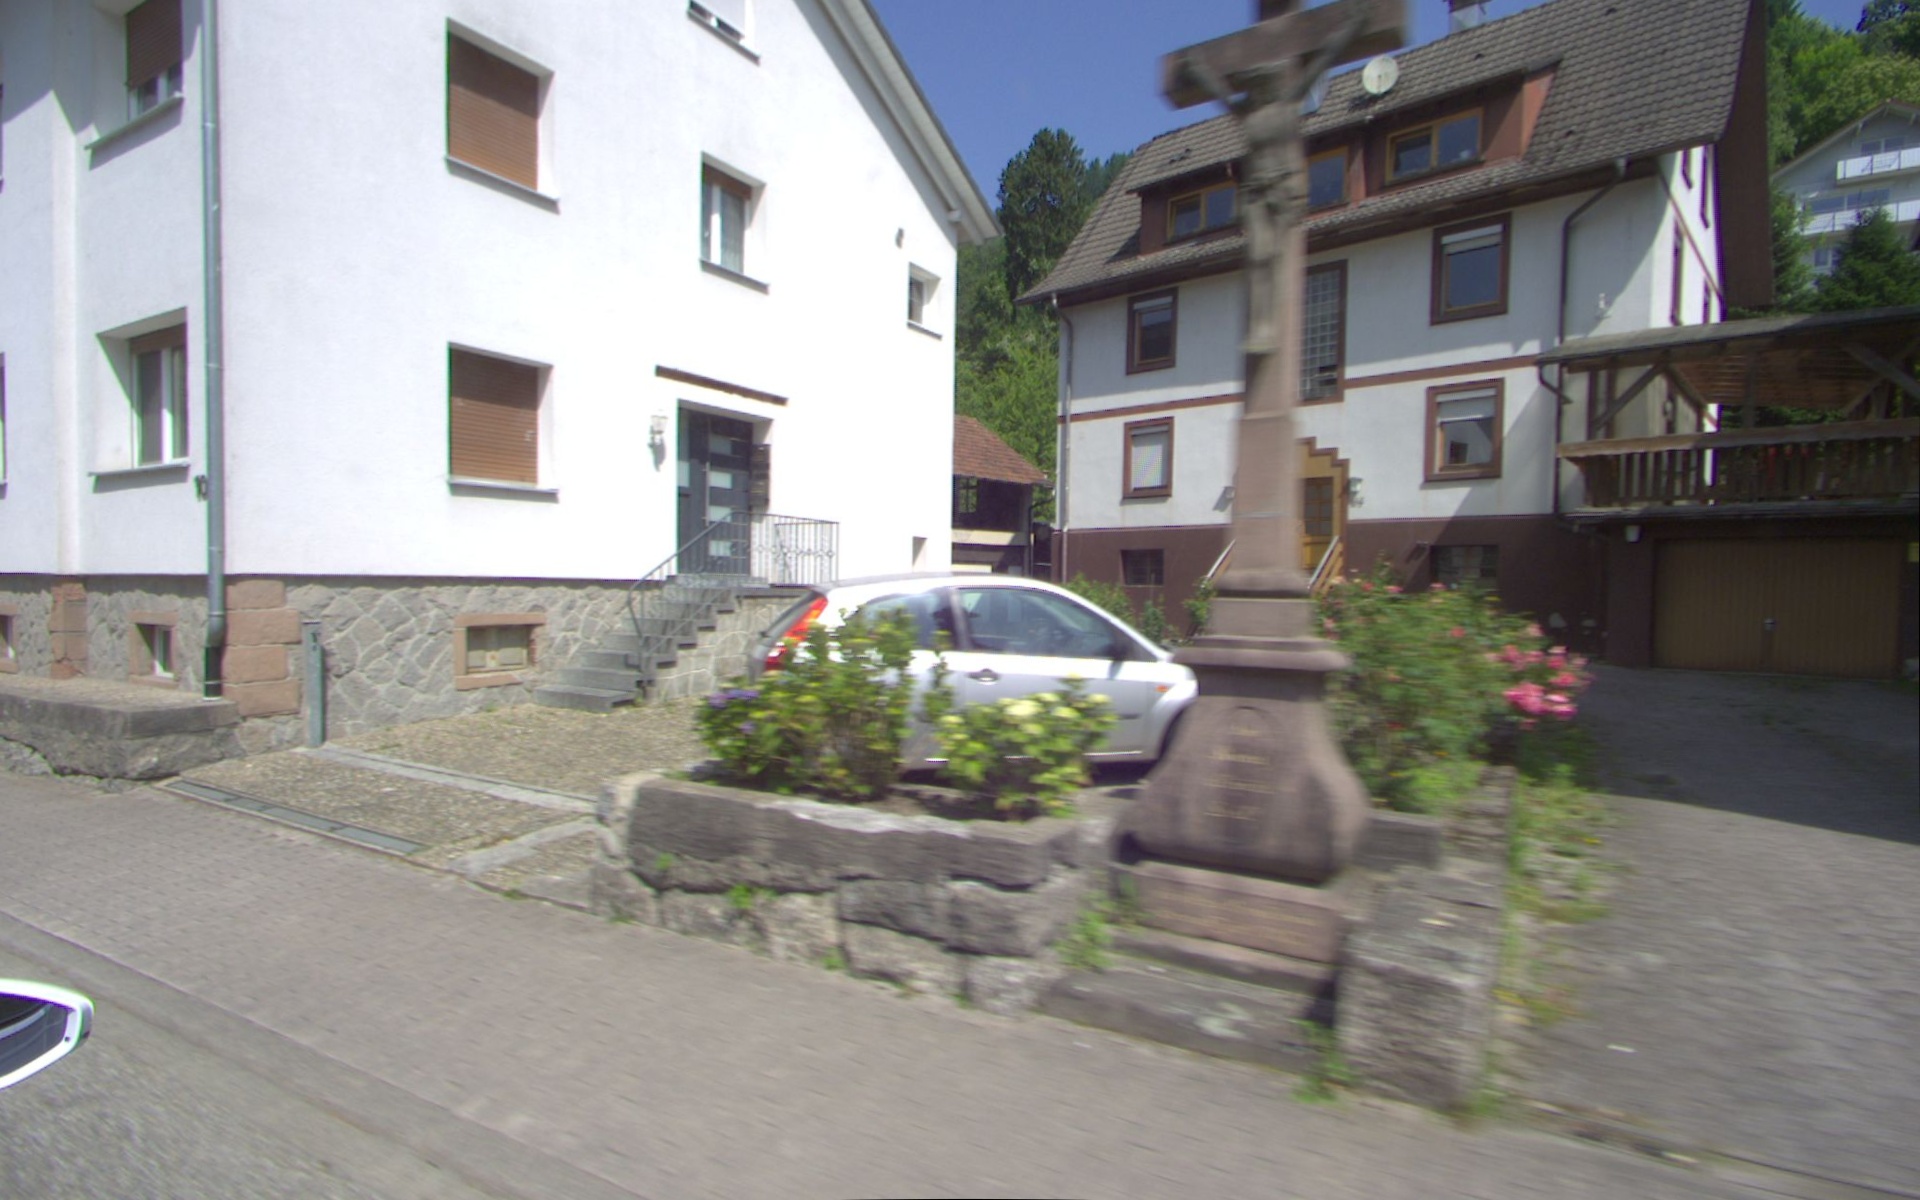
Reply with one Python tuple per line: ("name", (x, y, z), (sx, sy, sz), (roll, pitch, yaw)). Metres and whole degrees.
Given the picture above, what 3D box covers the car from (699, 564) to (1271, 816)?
("car", (0.108, 0.514, 7.108), (3.707, 1.446, 1.607), (-1, 1, -13))
